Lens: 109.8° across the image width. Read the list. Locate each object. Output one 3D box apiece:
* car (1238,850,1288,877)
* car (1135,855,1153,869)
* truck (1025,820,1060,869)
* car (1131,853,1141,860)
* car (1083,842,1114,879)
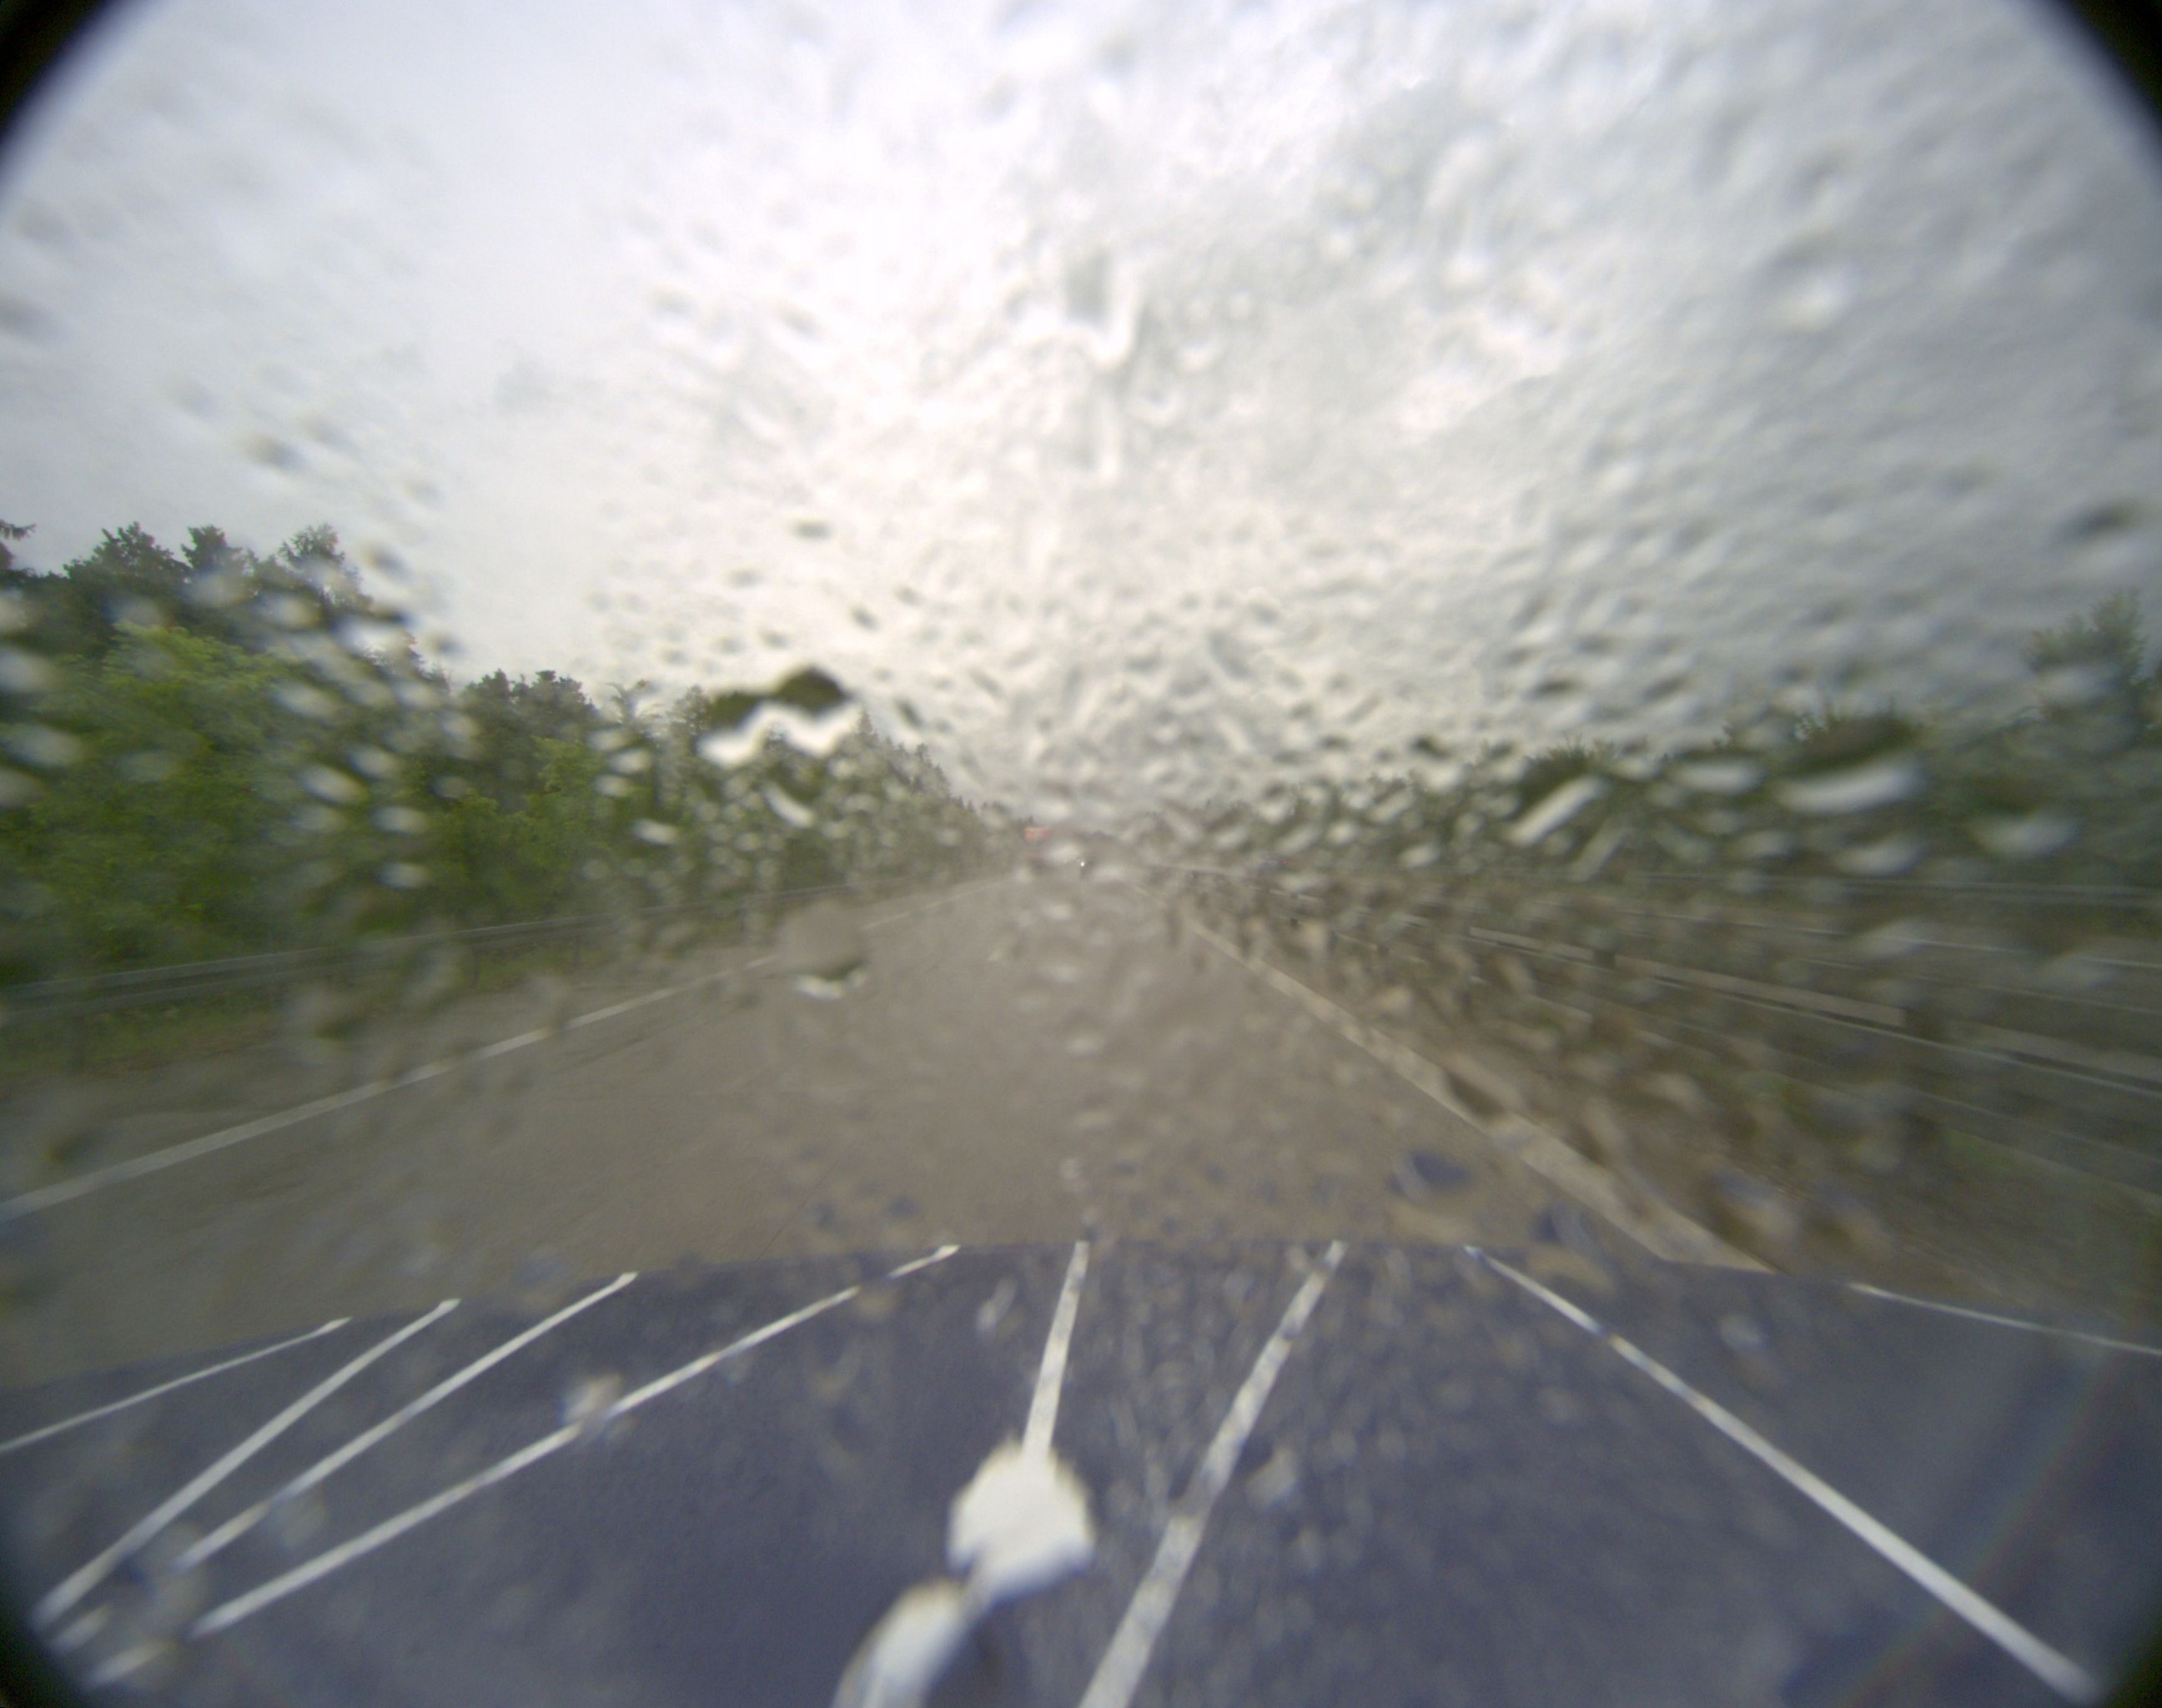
[{"bbox_3d":[10.977,0.548,46.089,1.906,1.490,4.220,-2,1,-1],"label":"car"},{"bbox_3d":[7.669,0.955,92.491,1.832,1.490,4.021,-2,1,-1],"label":"car"},{"bbox_3d":[-3.323,-0.788,66.908,2.766,4.063,5.437,1,0,0],"label":"truck"},{"bbox_3d":[11.004,0.524,152.054,1.754,1.426,3.918,1,0,-1],"label":"car"},{"bbox_3d":[1.027,0.412,46.712,1.795,2.113,4.524,1,0,0],"label":"car"}]
